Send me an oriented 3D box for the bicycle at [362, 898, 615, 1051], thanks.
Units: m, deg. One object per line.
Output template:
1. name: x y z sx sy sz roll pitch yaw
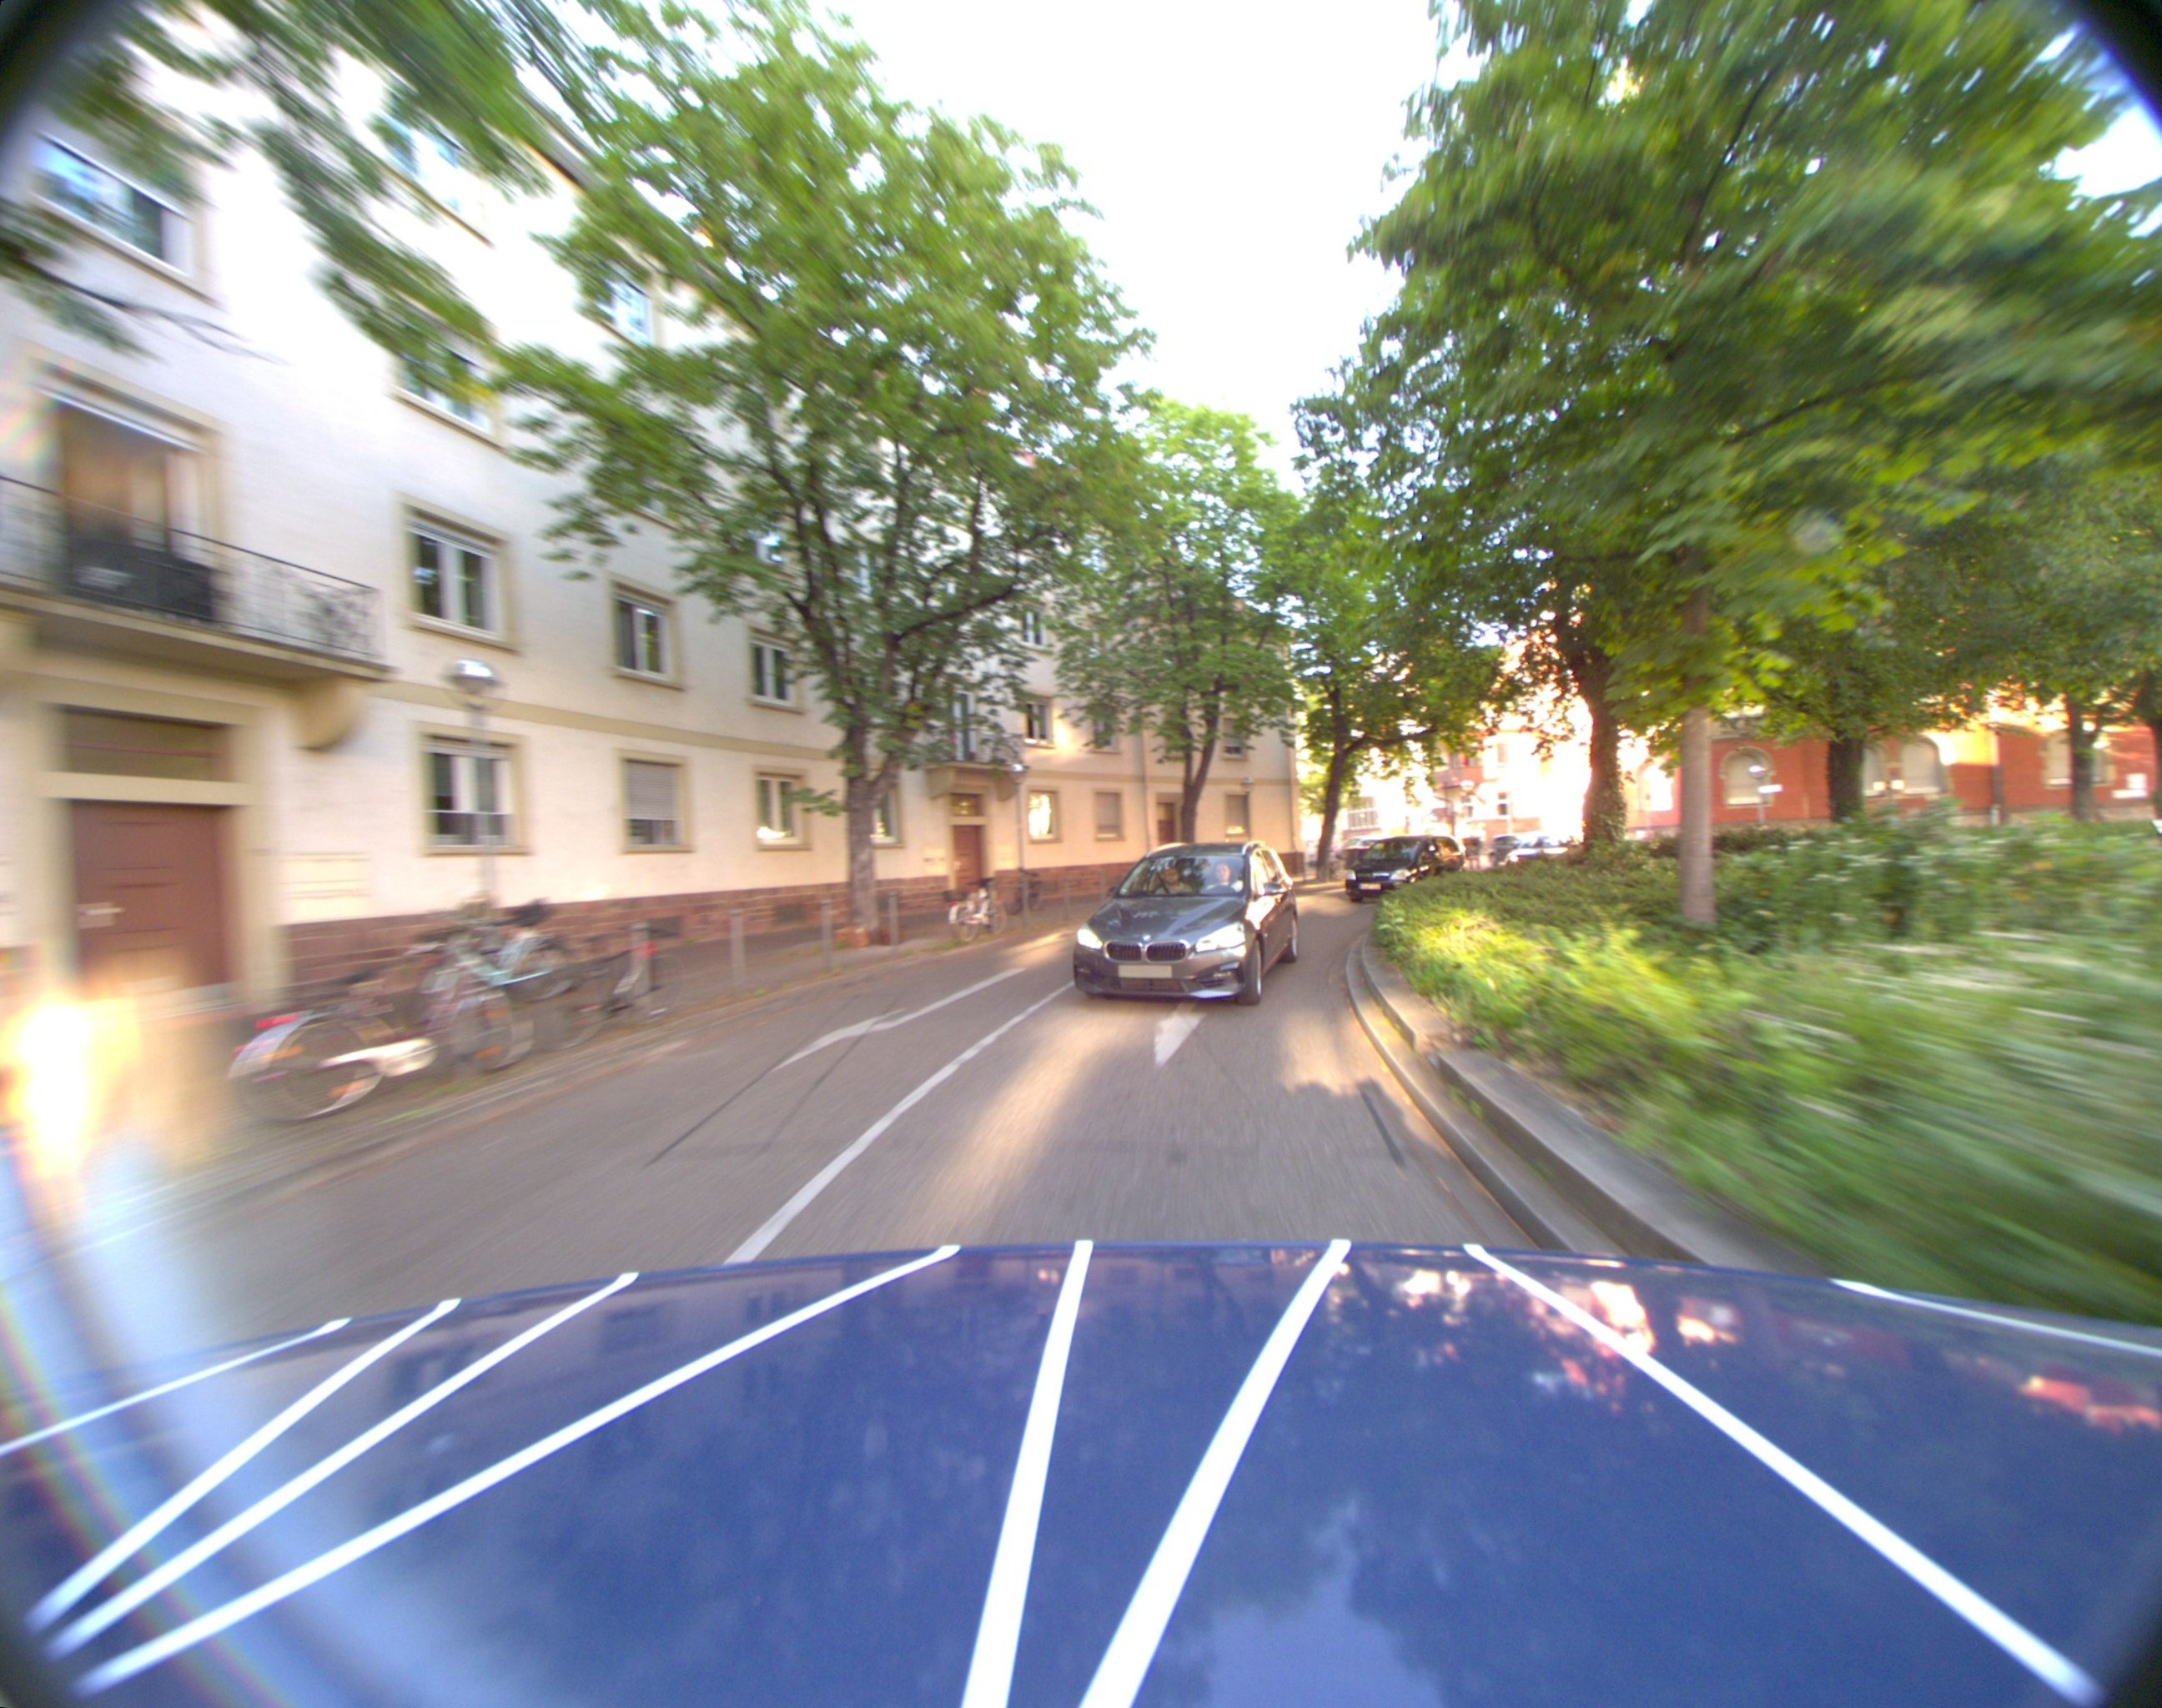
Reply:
1. bicycle: -6.132 1.171 8.030 0.718 1.270 1.969 -1 1 21

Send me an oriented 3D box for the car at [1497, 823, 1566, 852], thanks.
1. car: 25.164 -0.900 42.514 1.493 1.531 3.212 -3 1 -13

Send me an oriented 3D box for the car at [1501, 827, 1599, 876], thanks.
1. car: 15.282 -0.112 24.695 3.694 1.400 1.676 -4 2 -41

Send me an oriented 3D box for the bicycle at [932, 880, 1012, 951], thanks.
1. bicycle: -1.953 1.090 13.927 0.513 1.089 1.976 -1 1 21

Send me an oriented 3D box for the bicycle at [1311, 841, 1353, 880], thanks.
1. bicycle: 9.079 0.217 27.440 0.766 1.297 1.906 -2 1 39

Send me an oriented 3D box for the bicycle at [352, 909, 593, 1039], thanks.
1. bicycle: -6.672 1.265 8.489 0.668 1.101 1.969 -3 0 22

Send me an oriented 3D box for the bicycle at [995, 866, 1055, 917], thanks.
1. bicycle: -1.378 0.919 19.040 0.801 1.112 1.860 -3 0 17

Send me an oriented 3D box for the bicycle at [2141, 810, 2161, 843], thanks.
1. bicycle: 35.293 -0.916 24.033 0.639 1.051 1.977 -4 1 -41

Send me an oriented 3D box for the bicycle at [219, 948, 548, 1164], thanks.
1. bicycle: -4.734 1.294 5.321 0.481 1.057 1.638 0 1 19

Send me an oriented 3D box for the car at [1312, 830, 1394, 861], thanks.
1. car: 14.673 -0.445 41.013 3.805 1.417 1.674 -4 0 -14

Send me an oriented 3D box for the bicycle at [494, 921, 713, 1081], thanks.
1. bicycle: -4.259 1.248 6.951 0.526 1.101 1.743 0 1 18

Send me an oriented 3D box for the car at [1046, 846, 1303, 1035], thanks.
1. car: 1.356 0.752 8.767 1.790 1.569 4.267 -2 0 23

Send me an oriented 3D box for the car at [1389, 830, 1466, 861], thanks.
1. car: 19.473 -0.435 42.915 1.806 1.543 4.182 -3 0 -11

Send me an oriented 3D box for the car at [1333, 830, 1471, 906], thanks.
1. car: 7.977 0.289 18.746 3.694 1.619 1.676 -4 2 -42
